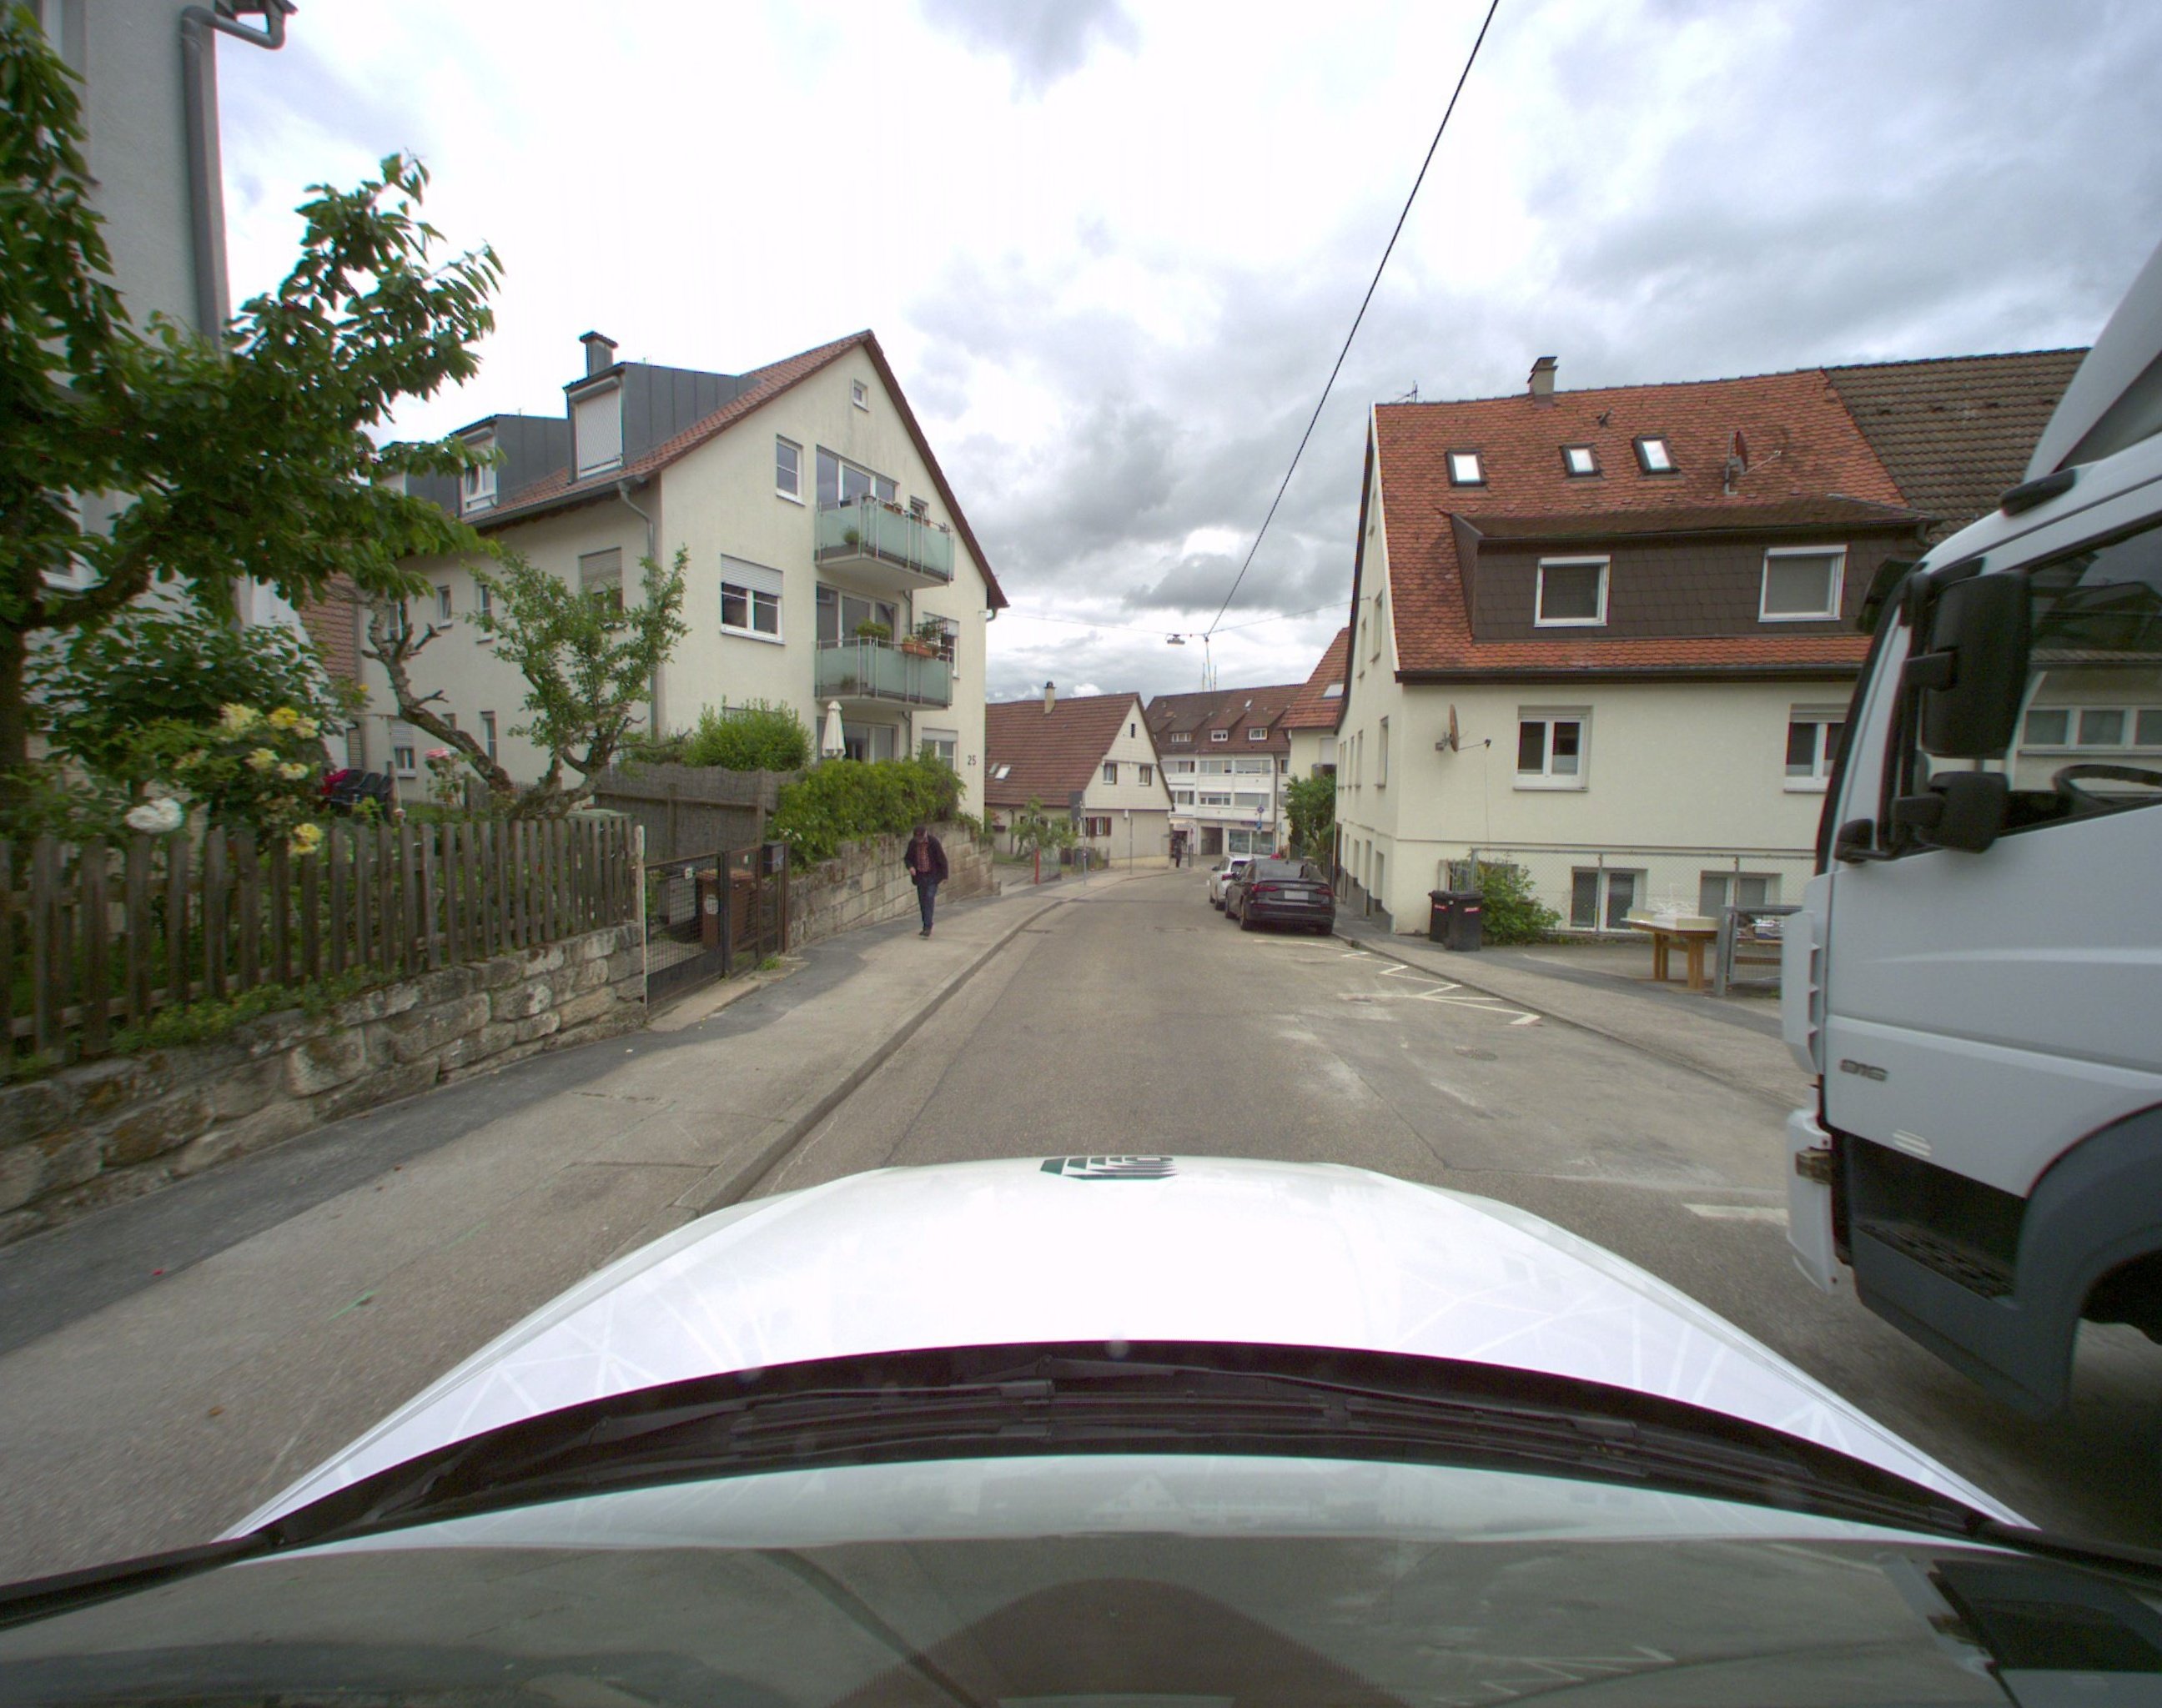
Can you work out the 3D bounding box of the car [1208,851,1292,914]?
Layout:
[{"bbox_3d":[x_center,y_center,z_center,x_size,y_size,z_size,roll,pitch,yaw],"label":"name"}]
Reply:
[{"bbox_3d":[4.513,0.701,22.313,1.786,1.445,4.305,3,0,6],"label":"car"}]

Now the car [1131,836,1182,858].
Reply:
[{"bbox_3d":[6.711,-0.635,72.550,1.958,1.779,4.317,-1,3,-42],"label":"car"}]

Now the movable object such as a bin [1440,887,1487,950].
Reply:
[{"bbox_3d":[5.929,0.994,12.624,0.462,0.917,0.542,-2,0,3],"label":"movable object such as a bin"}]

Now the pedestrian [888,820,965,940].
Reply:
[{"bbox_3d":[-2.289,0.374,12.203,0.837,1.677,0.977,4,0,2],"label":"pedestrian"}]

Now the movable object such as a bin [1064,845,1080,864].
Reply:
[{"bbox_3d":[-0.459,0.031,42.044,0.522,0.917,0.493,7,1,37],"label":"movable object such as a bin"}]

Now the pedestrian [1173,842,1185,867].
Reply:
[{"bbox_3d":[6.857,0.024,57.073,0.645,1.684,0.603,2,2,-6],"label":"pedestrian"}]

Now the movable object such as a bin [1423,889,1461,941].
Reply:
[{"bbox_3d":[6.455,1.089,14.573,0.436,0.866,0.447,0,2,-38],"label":"movable object such as a bin"}]

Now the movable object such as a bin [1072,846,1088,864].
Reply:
[{"bbox_3d":[-0.054,0.041,41.729,0.522,0.883,0.493,7,1,37],"label":"movable object such as a bin"}]

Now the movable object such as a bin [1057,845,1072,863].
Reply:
[{"bbox_3d":[-0.858,-0.005,42.416,0.490,0.877,0.455,7,1,38],"label":"movable object such as a bin"}]

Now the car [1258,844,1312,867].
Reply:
[{"bbox_3d":[15.814,0.083,63.214,1.706,1.556,3.652,0,3,-41],"label":"car"}]

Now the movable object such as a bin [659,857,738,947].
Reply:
[{"bbox_3d":[-4.504,0.544,9.589,0.584,0.931,0.607,6,5,32],"label":"movable object such as a bin"}]

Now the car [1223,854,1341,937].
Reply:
[{"bbox_3d":[4.055,0.766,17.046,1.666,1.408,4.056,3,0,4],"label":"car"}]
